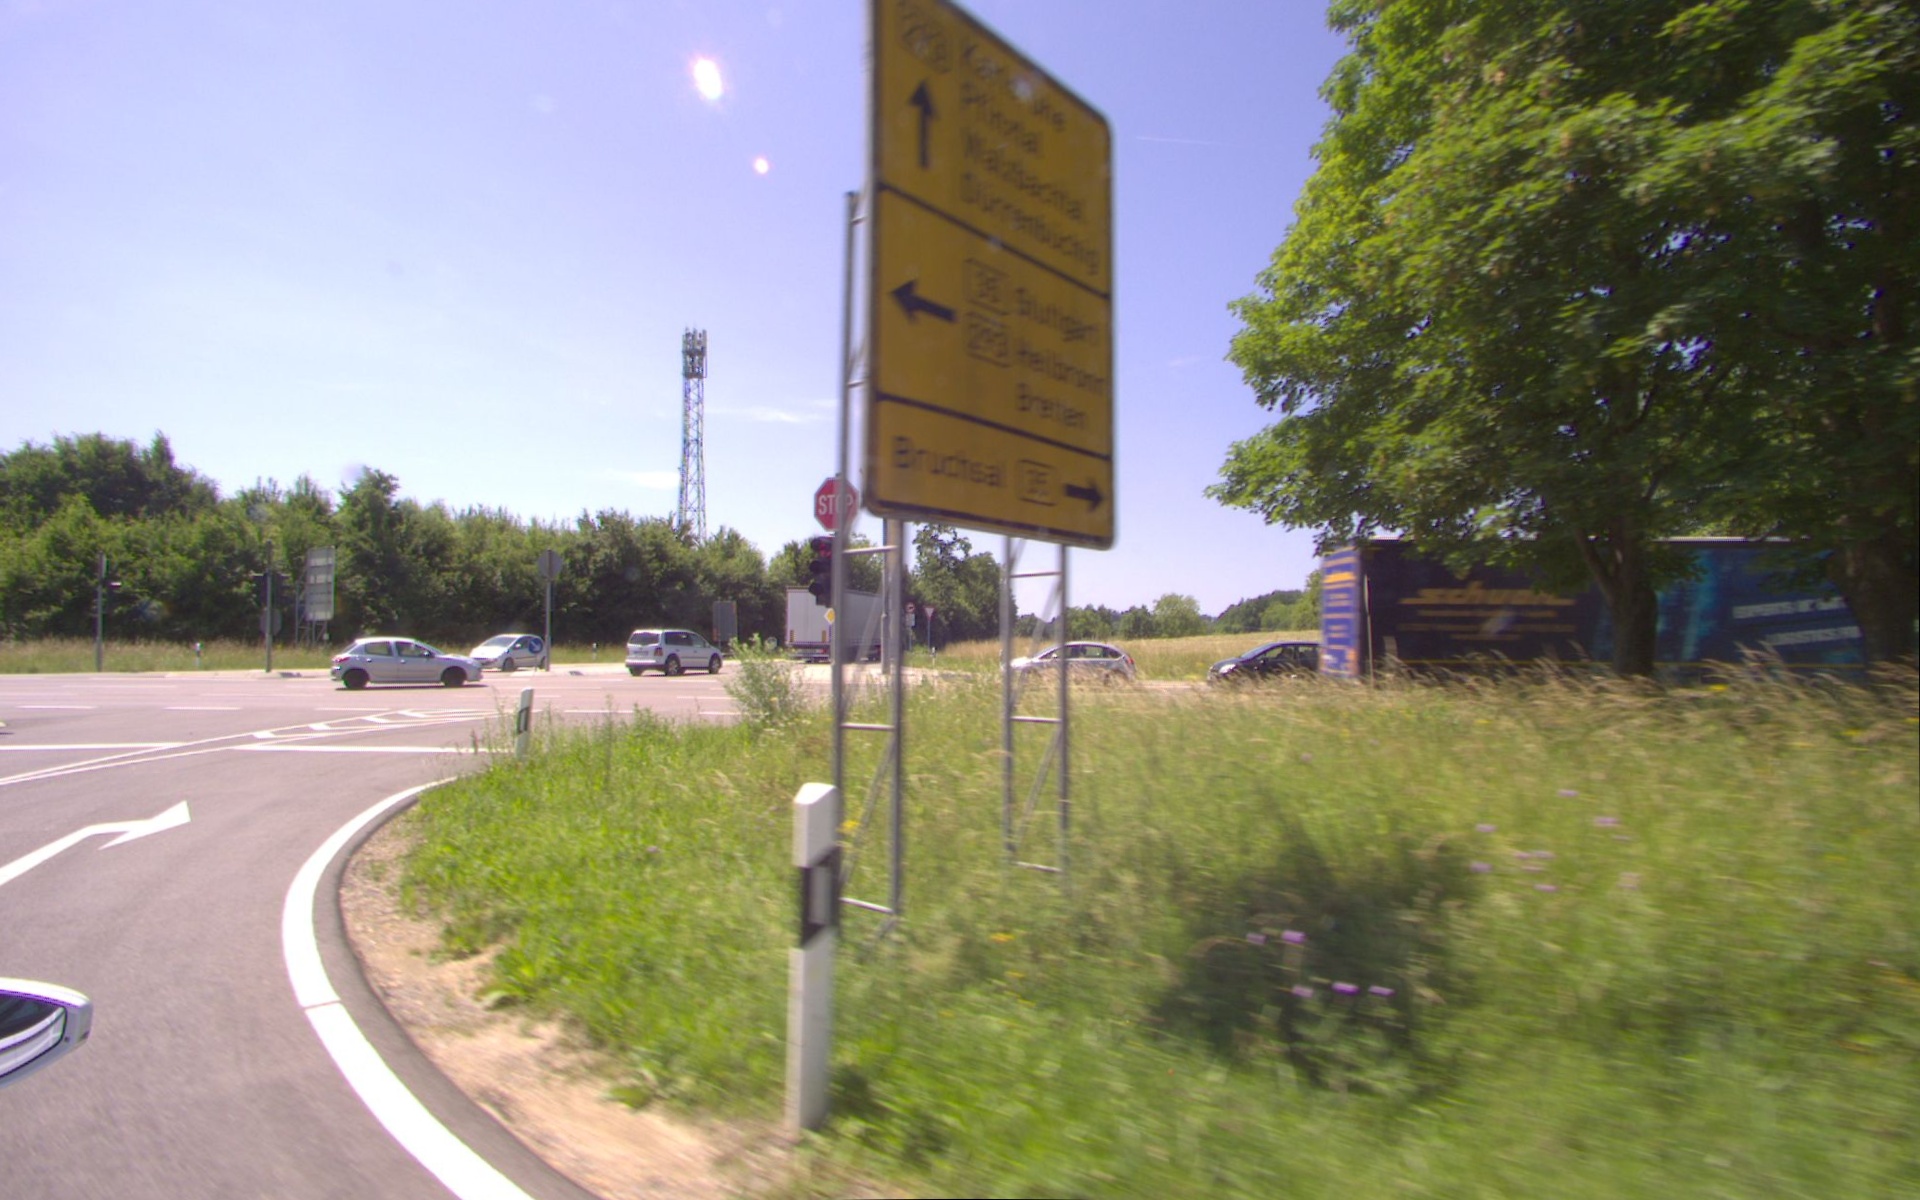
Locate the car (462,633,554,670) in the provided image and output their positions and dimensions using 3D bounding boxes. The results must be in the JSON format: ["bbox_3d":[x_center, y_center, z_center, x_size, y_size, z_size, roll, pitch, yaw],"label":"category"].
[{"bbox_3d":[-17.989,2.020,40.009,1.541,1.388,3.529,0,-1,13],"label":"car"}]

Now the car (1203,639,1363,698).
[{"bbox_3d":[9.660,2.033,30.221,4.297,1.573,1.729,1,0,5],"label":"car"}]

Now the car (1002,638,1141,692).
[{"bbox_3d":[3.337,1.961,30.613,4.089,1.489,1.729,1,0,2],"label":"car"}]

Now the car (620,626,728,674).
[{"bbox_3d":[-10.629,1.820,37.485,1.788,1.646,4.050,-1,-1,22],"label":"car"}]

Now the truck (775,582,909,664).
[{"bbox_3d":[-6.602,1.359,60.583,3.076,4.227,16.680,0,-1,11],"label":"truck"}]

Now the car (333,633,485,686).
[{"bbox_3d":[-15.892,1.676,28.978,3.729,1.431,1.809,1,-1,-30],"label":"car"}]

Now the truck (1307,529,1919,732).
[{"bbox_3d":[16.732,0.702,22.813,16.483,4.184,2.853,1,-1,3],"label":"truck"}]
